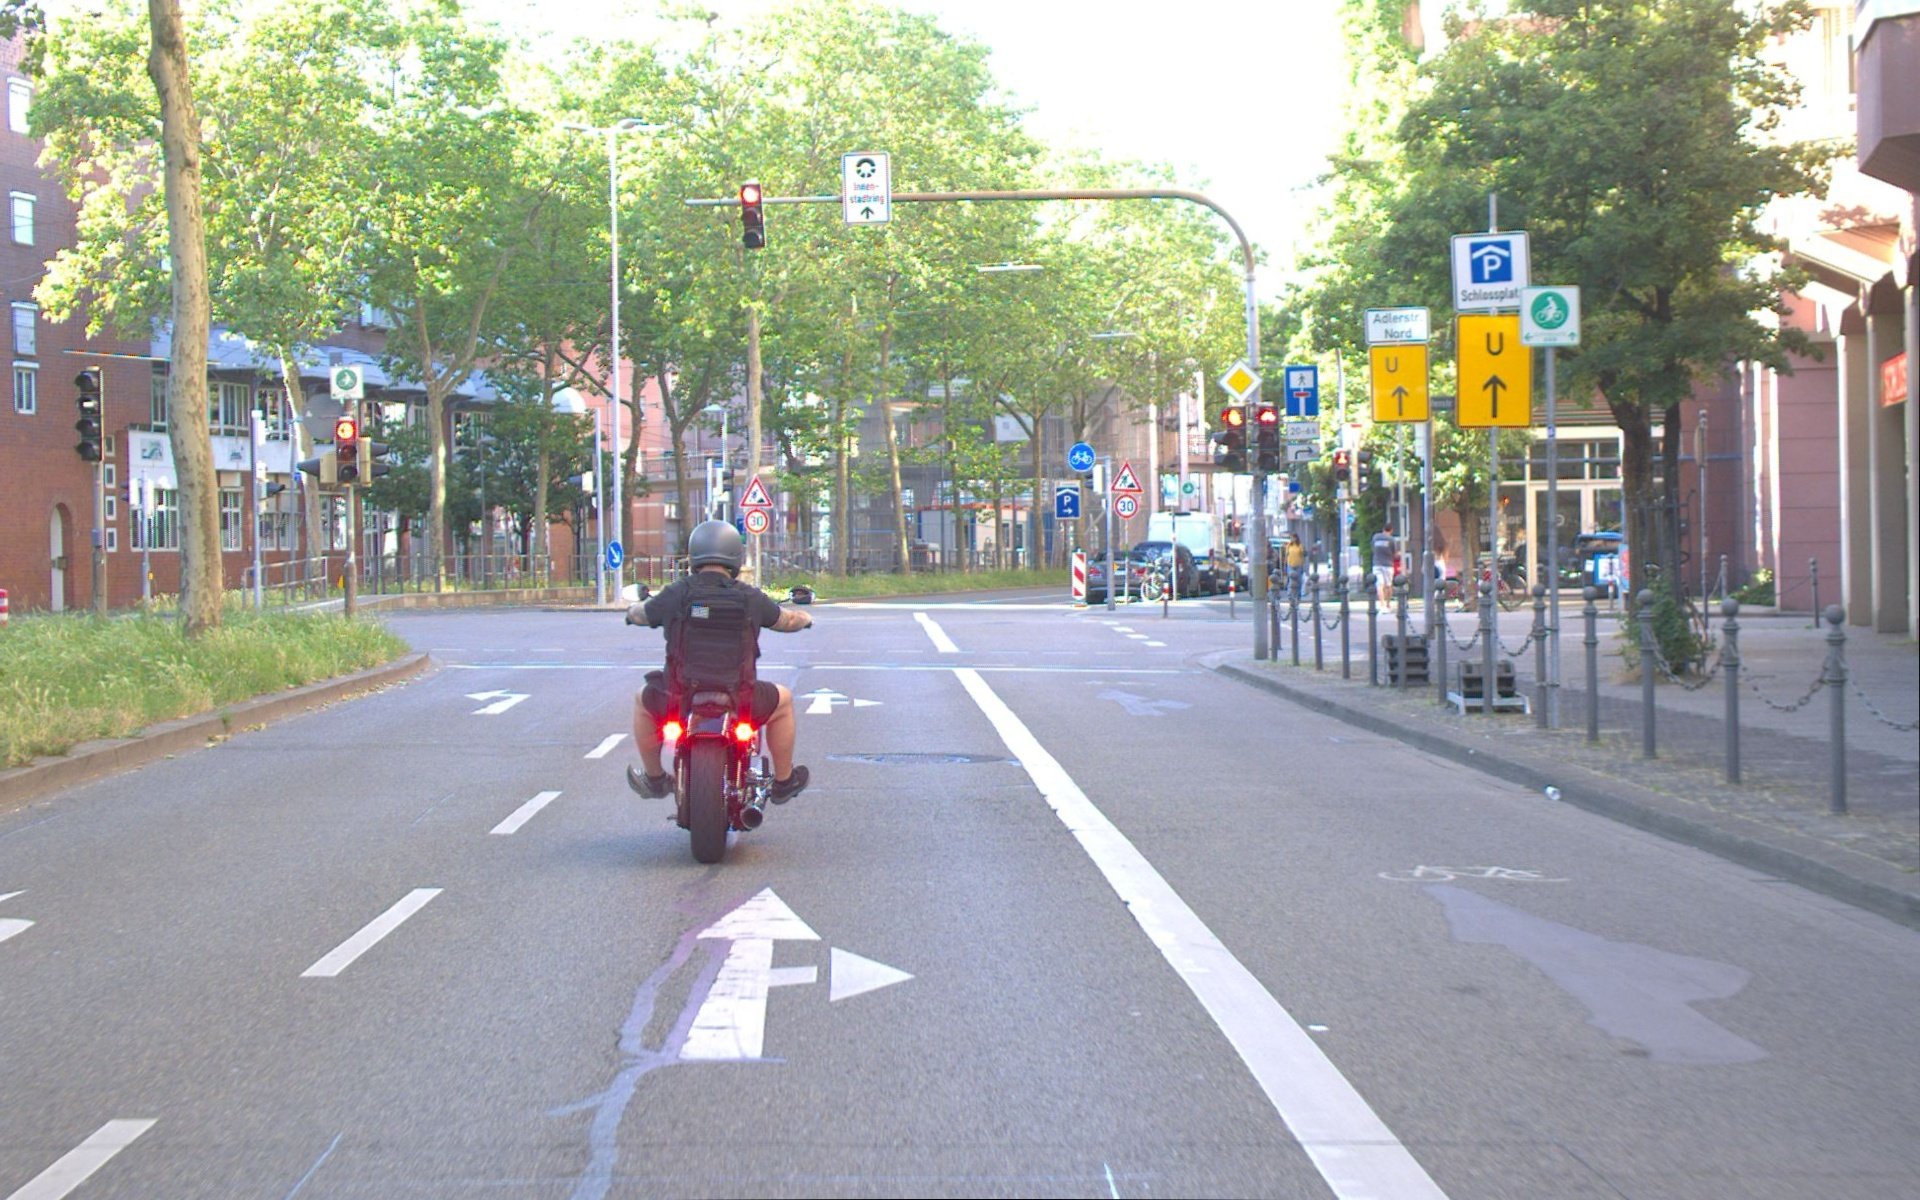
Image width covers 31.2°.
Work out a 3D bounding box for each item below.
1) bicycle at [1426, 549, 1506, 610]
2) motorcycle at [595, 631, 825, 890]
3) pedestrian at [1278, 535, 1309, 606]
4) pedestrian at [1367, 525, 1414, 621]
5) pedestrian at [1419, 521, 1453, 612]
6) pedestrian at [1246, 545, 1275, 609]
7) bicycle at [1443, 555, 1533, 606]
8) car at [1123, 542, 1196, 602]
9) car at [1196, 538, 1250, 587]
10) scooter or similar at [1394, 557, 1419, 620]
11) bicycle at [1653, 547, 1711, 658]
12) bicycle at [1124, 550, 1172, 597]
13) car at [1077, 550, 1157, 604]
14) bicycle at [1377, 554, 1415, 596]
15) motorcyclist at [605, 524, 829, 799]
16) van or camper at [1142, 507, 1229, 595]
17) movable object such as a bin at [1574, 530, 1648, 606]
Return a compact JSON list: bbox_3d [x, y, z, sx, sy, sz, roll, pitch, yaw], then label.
[{"bbox_3d":[10.387,-0.418,70.572,1.567,1.223,0.577,-1,1,5],"label":"bicycle"},{"bbox_3d":[-1.174,0.726,16.382,1.018,1.093,2.008,-1,1,-3],"label":"motorcycle"},{"bbox_3d":[8.186,-0.722,84.457,0.700,1.727,0.767,-1,1,3],"label":"pedestrian"},{"bbox_3d":[8.020,-0.503,64.023,0.785,1.757,0.610,-1,1,2],"label":"pedestrian"},{"bbox_3d":[8.856,-0.623,63.973,0.459,1.667,0.680,-1,1,-5],"label":"pedestrian"},{"bbox_3d":[7.396,-0.569,84.632,0.644,1.573,0.748,-1,1,3],"label":"pedestrian"},{"bbox_3d":[11.295,-0.418,73.578,1.749,1.049,0.738,0,1,27],"label":"bicycle"},{"bbox_3d":[5.614,-0.796,96.411,1.621,1.614,4.484,-1,1,9],"label":"car"},{"bbox_3d":[8.885,-1.281,115.827,1.620,1.604,3.773,-1,1,7],"label":"car"},{"bbox_3d":[8.306,-0.222,63.955,0.394,1.154,1.249,-1,1,5],"label":"scooter or similar"},{"bbox_3d":[8.258,0.014,39.343,0.622,1.221,1.926,-1,1,12],"label":"bicycle"},{"bbox_3d":[4.343,-0.619,79.521,0.737,1.049,1.753,-1,1,-10],"label":"bicycle"},{"bbox_3d":[3.980,-0.603,86.502,1.620,1.298,4.310,-1,1,8],"label":"car"},{"bbox_3d":[10.002,-0.587,78.828,0.737,0.936,1.752,-1,1,3],"label":"bicycle"},{"bbox_3d":[-1.157,0.279,16.384,1.011,1.258,0.774,1,1,-4],"label":"motorcyclist"},{"bbox_3d":[6.790,-1.460,102.909,2.049,2.532,5.771,-1,1,9],"label":"van or camper"},{"bbox_3d":[12.846,-0.636,67.856,1.410,1.477,0.871,-1,1,11],"label":"movable object such as a bin"}]
